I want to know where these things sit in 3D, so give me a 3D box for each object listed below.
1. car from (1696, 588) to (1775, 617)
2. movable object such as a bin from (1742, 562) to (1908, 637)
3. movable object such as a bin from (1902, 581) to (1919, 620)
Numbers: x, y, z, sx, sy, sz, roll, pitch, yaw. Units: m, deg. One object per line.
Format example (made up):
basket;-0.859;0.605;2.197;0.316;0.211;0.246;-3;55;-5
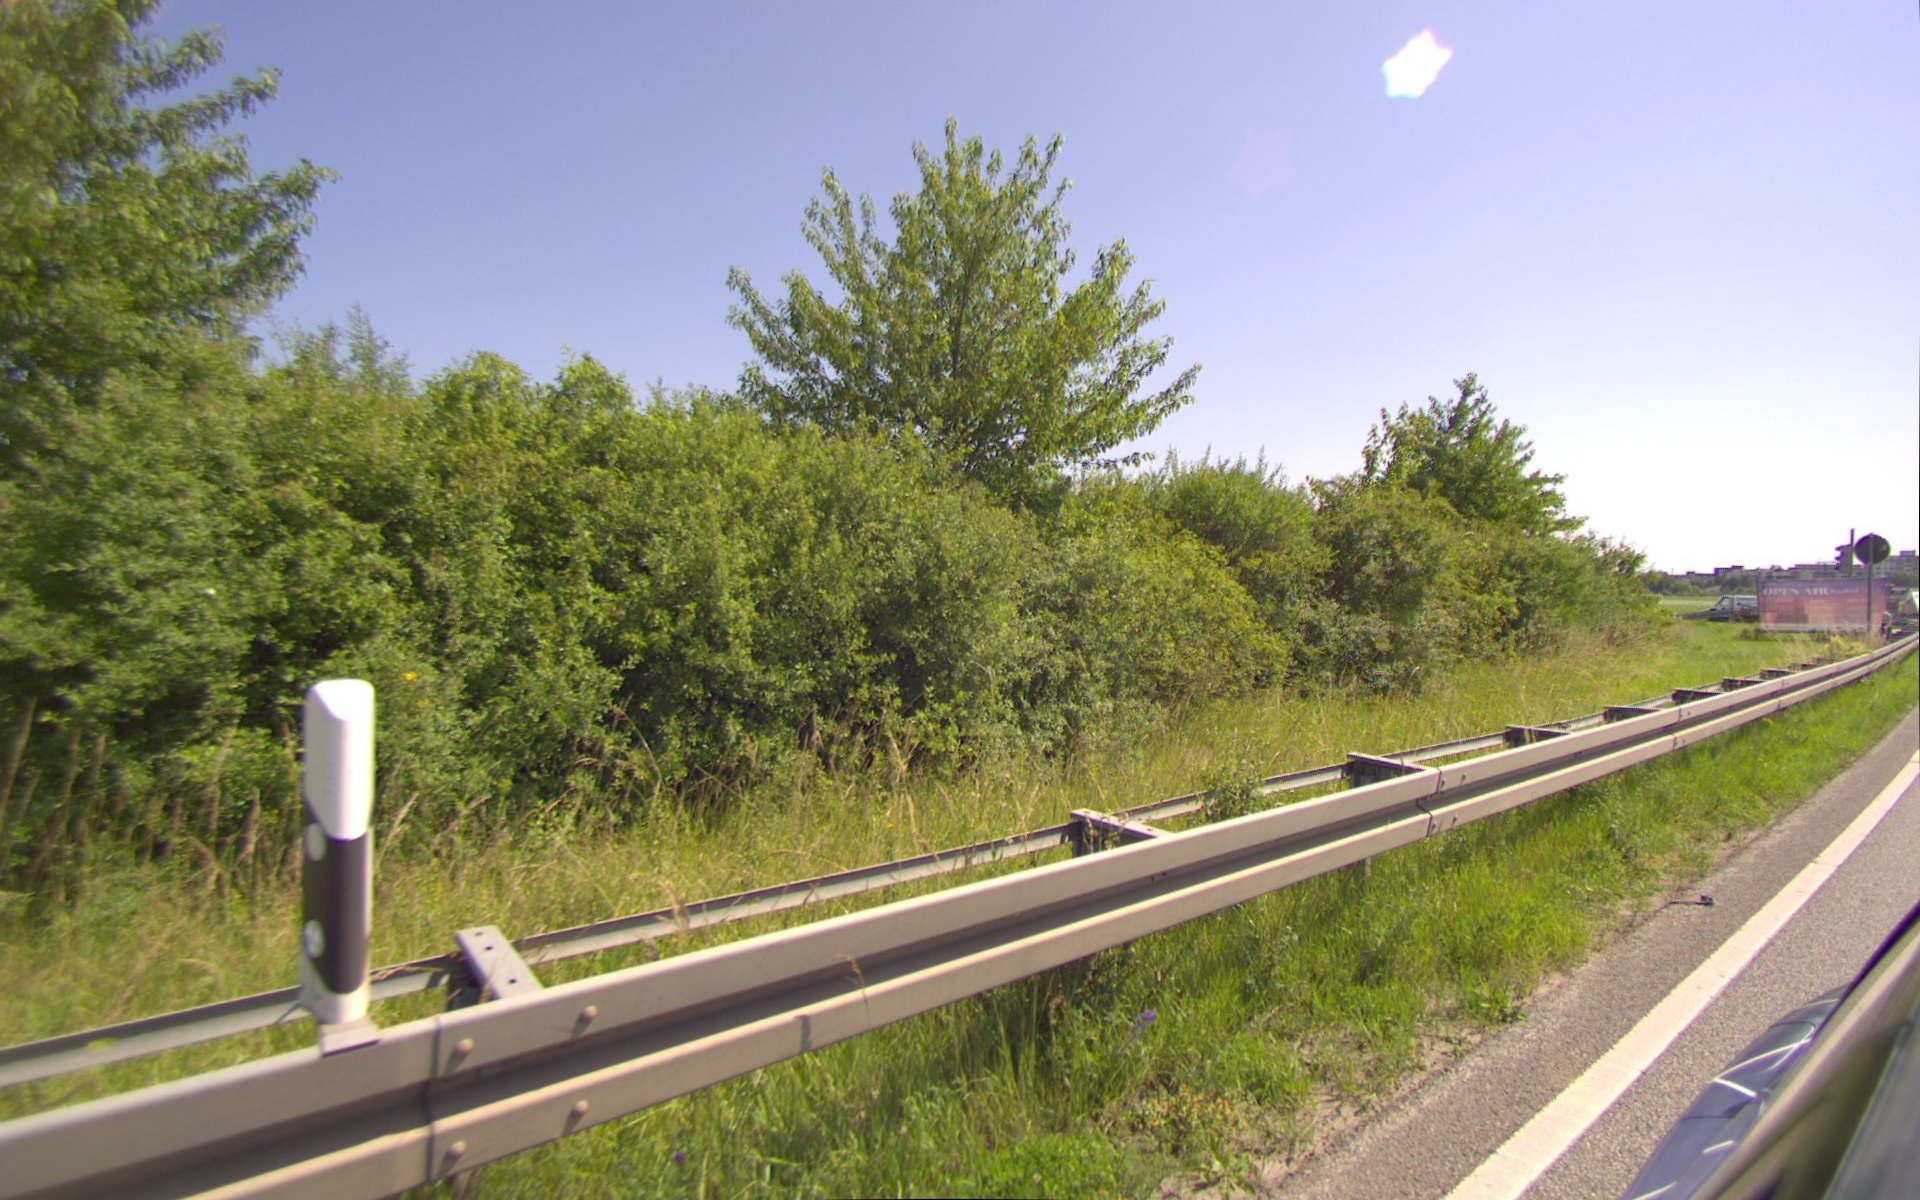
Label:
car;42.568;0.100;55.561;3.336;1.518;1.379;1;1;44
movable object such as a bin;28.693;-0.015;33.658;1.257;2.361;4.096;0;0;-44
movable object such as a bin;60.955;0.015;63.119;4.332;2.393;1.529;-1;0;-22
